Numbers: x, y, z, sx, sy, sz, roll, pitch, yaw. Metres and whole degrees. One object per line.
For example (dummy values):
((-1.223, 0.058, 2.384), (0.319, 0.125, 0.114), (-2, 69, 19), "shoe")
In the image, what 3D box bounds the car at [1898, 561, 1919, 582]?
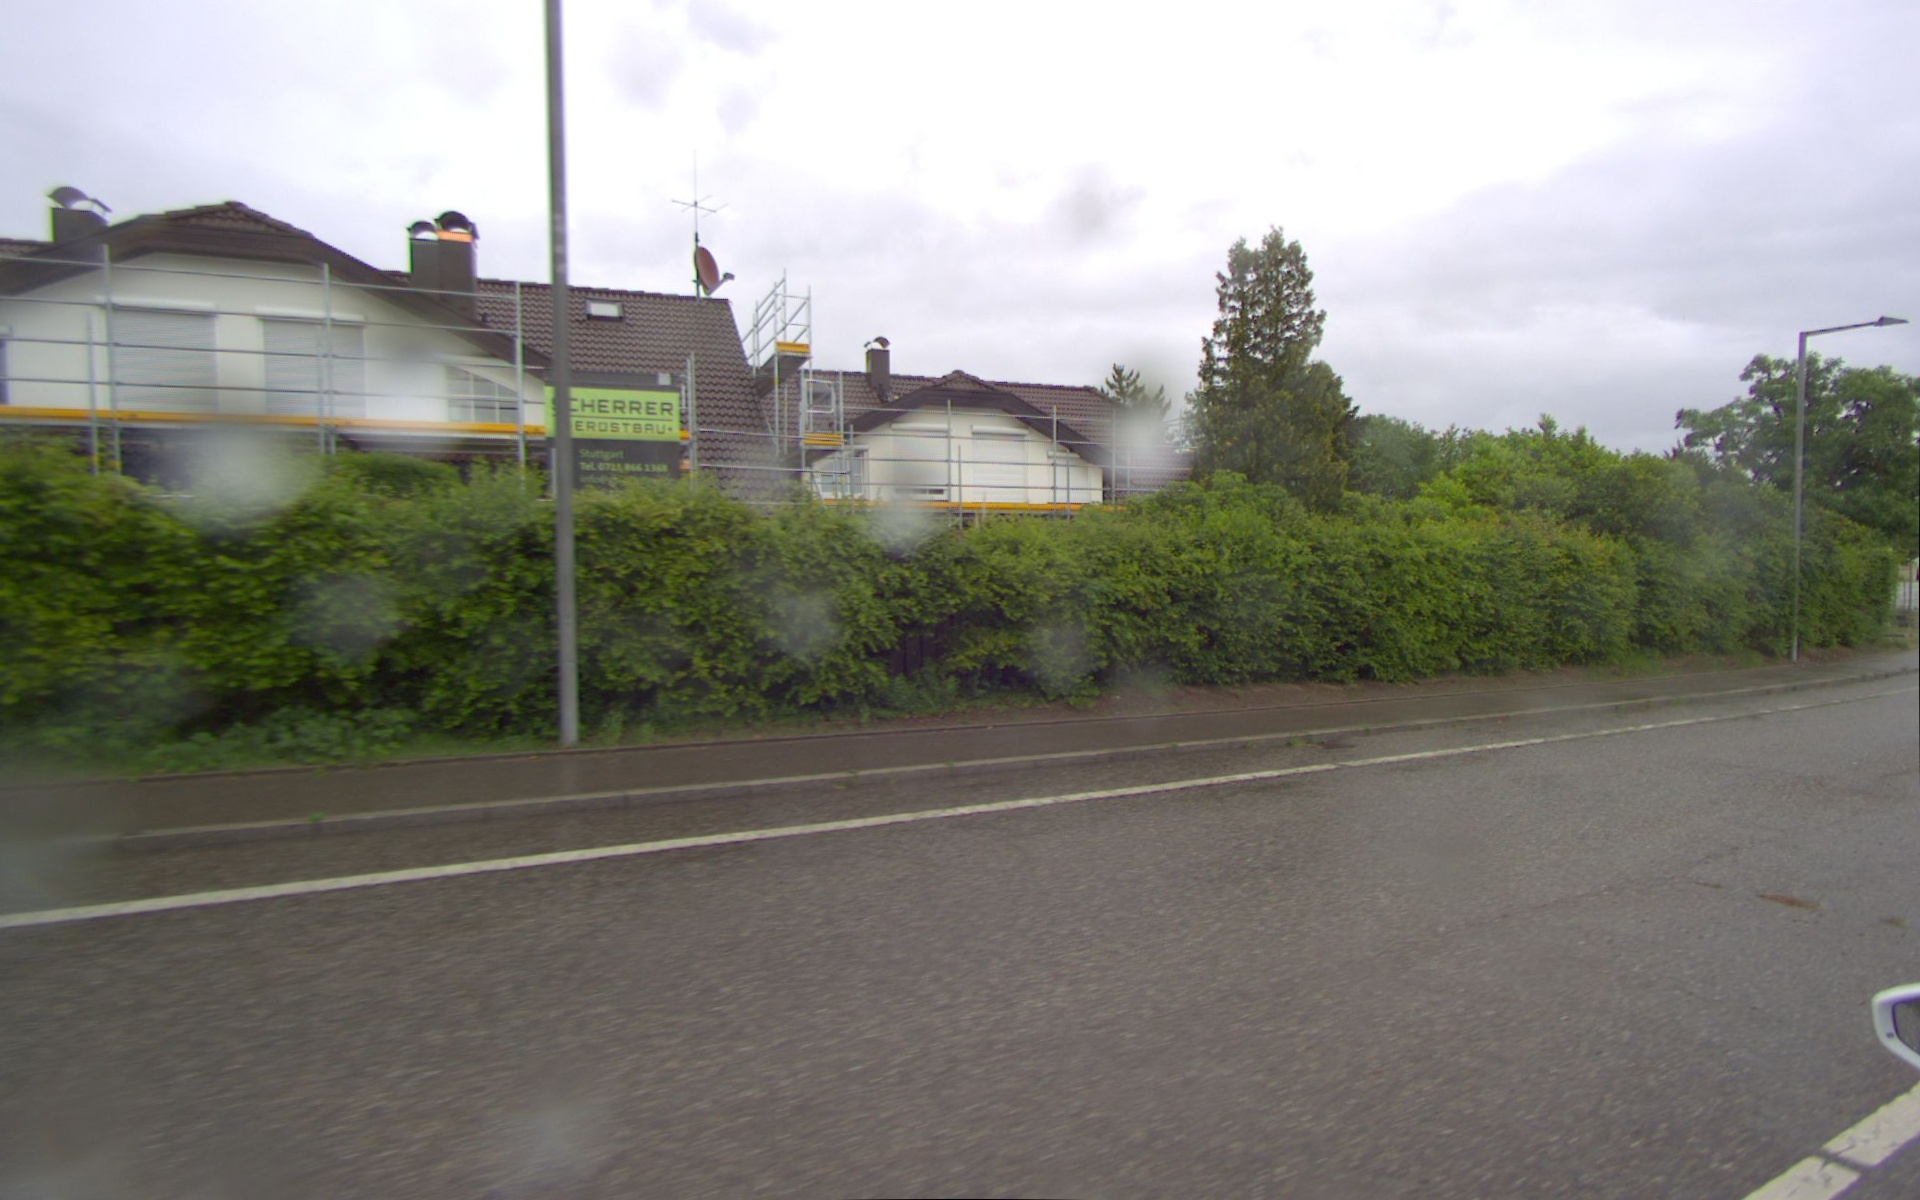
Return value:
((116.722, -3.471, 120.690), (1.984, 2.436, 5.628), (0, 0, -40), "car")

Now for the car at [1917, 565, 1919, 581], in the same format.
((94.753, -2.660, 97.893), (1.667, 1.642, 3.878), (1, 0, 38), "car")
